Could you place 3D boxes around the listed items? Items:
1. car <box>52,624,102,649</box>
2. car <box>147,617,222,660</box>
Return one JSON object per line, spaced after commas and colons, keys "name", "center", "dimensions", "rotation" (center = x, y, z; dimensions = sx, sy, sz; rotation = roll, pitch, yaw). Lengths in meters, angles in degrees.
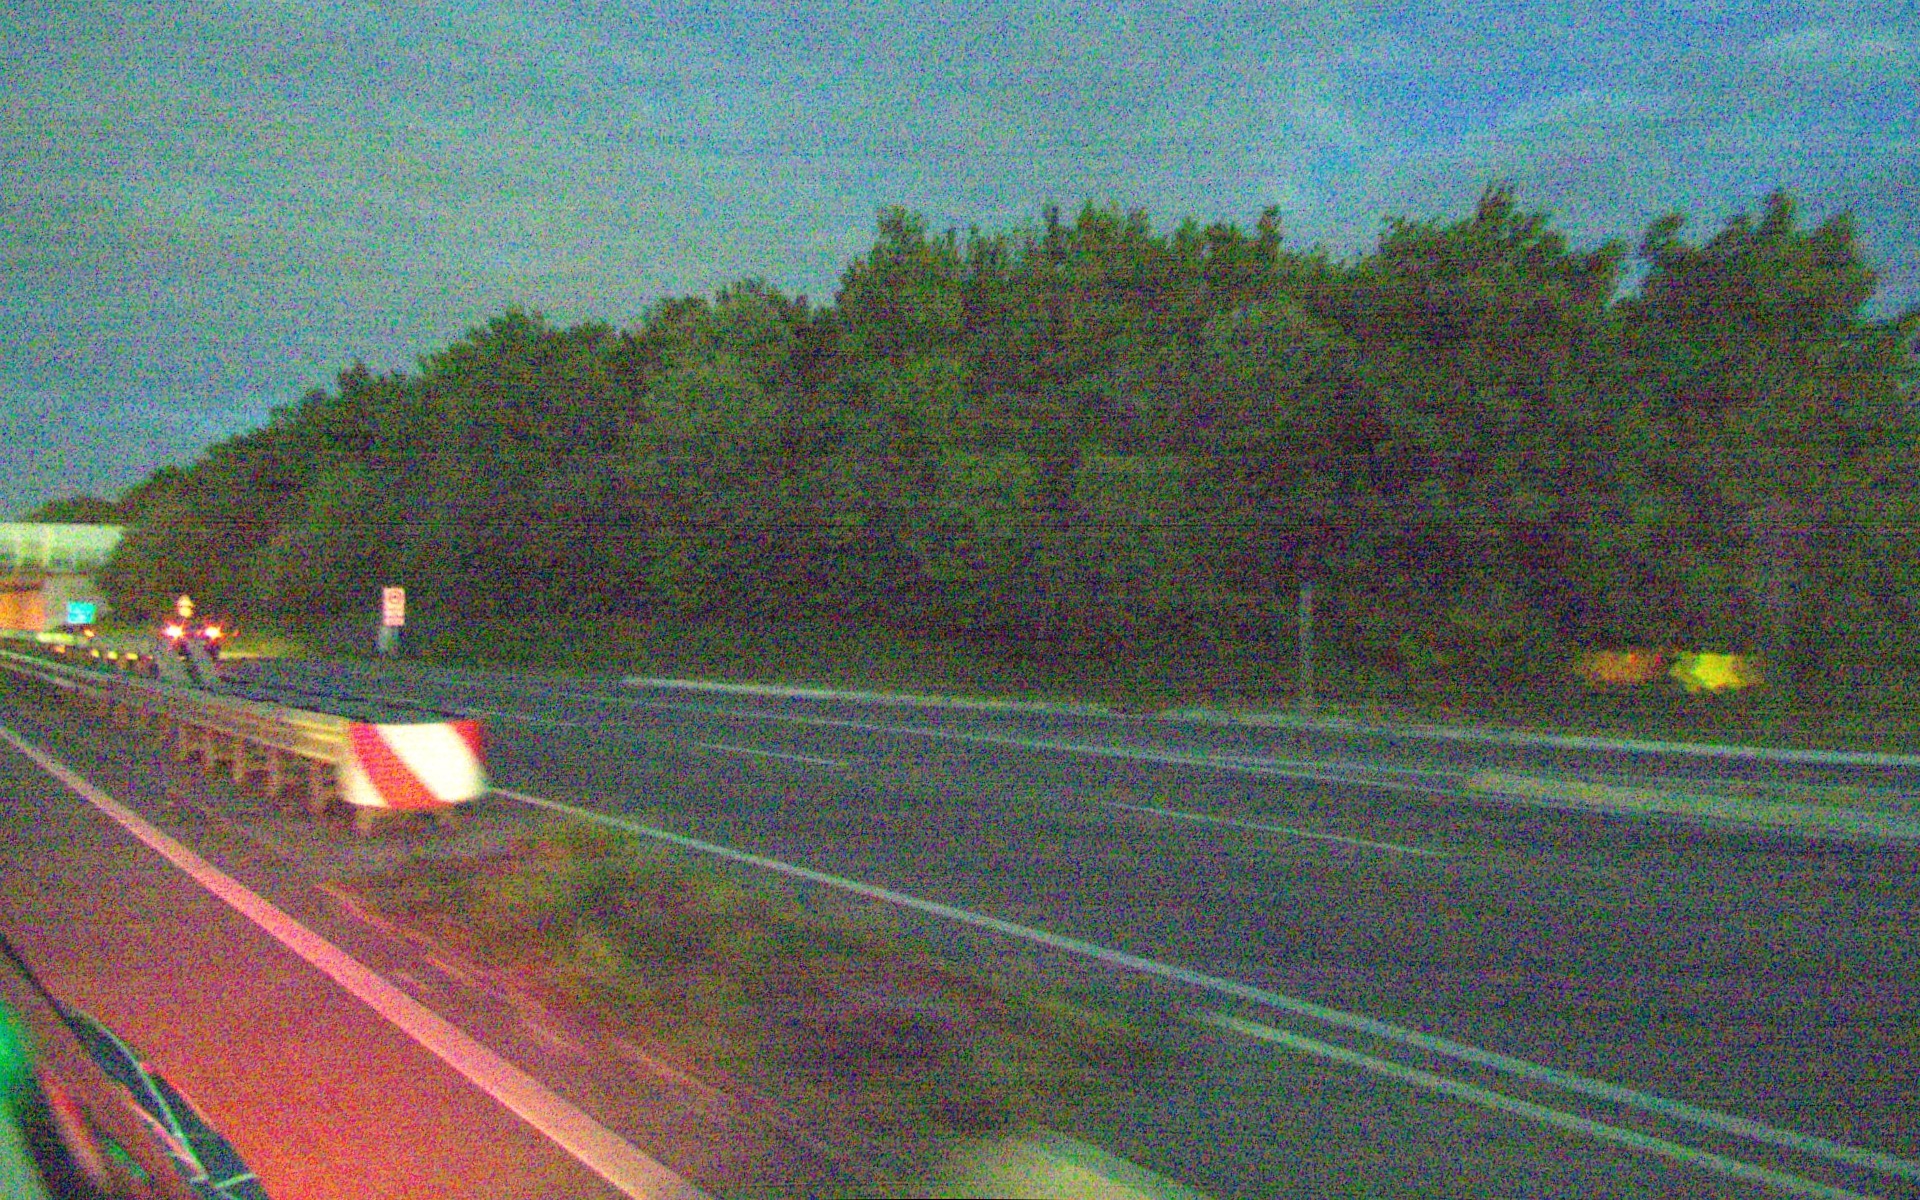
{"name": "car", "center": [-56.107, 2.298, 64.276], "dimensions": [4.699, 1.498, 1.932], "rotation": [-1, -4, 44]}
{"name": "car", "center": [-29.348, 1.442, 38.250], "dimensions": [3.514, 1.531, 1.529], "rotation": [-1, -4, 41]}
